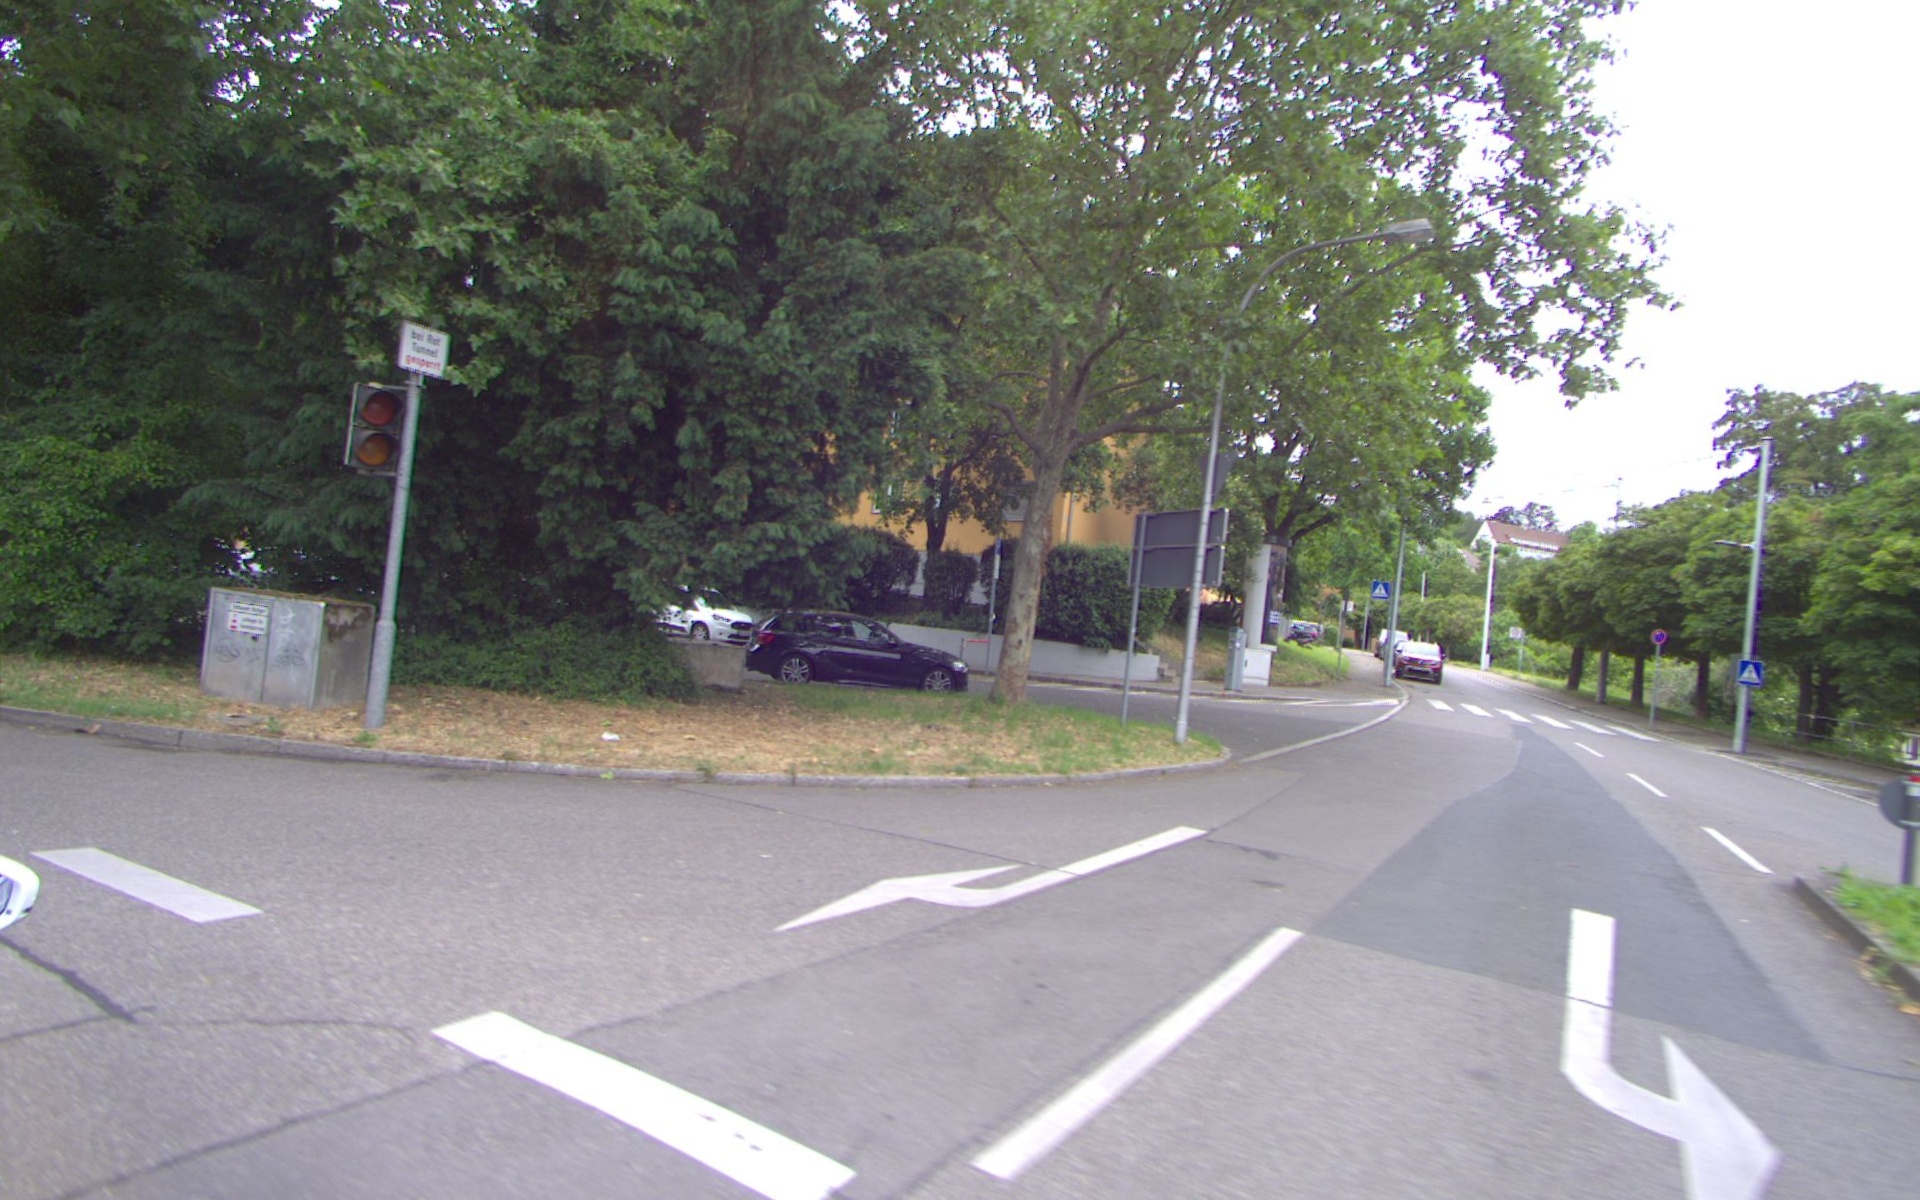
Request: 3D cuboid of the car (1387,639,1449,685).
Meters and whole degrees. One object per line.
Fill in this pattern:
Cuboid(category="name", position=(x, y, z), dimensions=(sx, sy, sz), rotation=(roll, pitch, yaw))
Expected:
Cuboid(category="car", position=(19.637, 2.649, 43.242), dimensions=(1.913, 1.605, 4.001), rotation=(8, 0, 20))

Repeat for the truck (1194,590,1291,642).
Cuboid(category="truck", position=(19.431, 1.087, 69.277), dimensions=(5.895, 2.766, 1.997), rotation=(8, 1, 29))

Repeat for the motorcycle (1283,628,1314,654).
Cuboid(category="motorcycle", position=(17.761, 2.152, 52.822), dimensions=(1.339, 1.151, 0.620), rotation=(7, 1, 10))

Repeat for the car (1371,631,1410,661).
Cuboid(category="car", position=(27.790, 3.001, 65.086), dimensions=(1.913, 1.605, 4.001), rotation=(8, 0, 20))

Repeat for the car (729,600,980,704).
Cuboid(category="car", position=(-2.015, 0.962, 18.822), dimensions=(4.356, 1.506, 1.855), rotation=(4, 3, -16))
